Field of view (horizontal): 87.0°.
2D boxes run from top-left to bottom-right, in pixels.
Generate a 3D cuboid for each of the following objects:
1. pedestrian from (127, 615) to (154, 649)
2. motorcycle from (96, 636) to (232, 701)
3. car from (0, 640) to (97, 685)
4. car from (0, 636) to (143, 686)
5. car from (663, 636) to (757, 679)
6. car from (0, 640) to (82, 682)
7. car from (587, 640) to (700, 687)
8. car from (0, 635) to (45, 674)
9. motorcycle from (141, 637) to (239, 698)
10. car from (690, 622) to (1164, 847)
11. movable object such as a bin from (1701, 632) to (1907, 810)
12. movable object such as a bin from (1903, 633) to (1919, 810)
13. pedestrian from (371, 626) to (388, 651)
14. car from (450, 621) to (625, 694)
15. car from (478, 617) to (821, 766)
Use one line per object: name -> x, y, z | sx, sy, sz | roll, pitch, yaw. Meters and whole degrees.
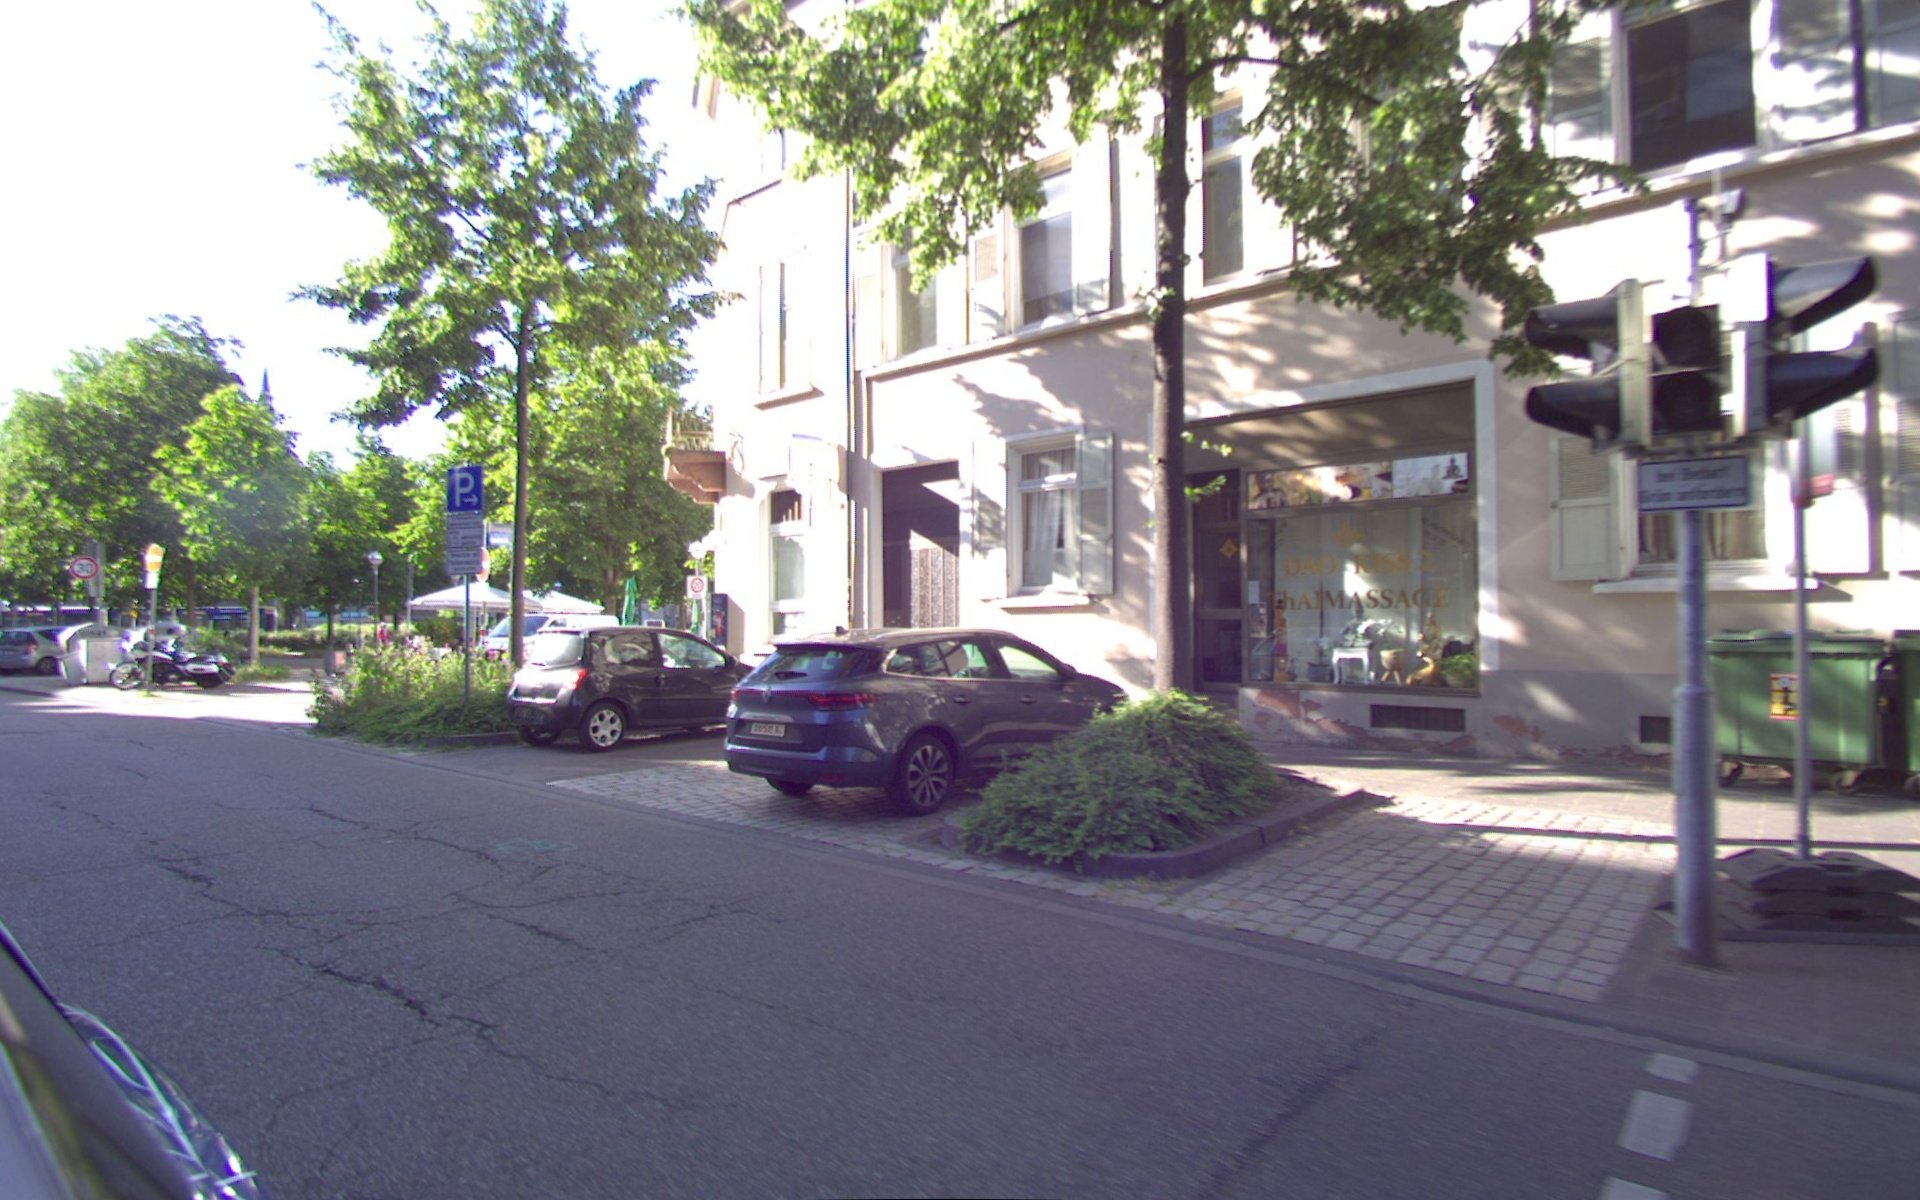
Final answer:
pedestrian -> -30.722, 1.216, 37.951 | 0.520, 1.267, 0.519 | 0, -3, 7
motorcycle -> -18.529, 1.566, 23.628 | 2.281, 1.434, 1.004 | 0, -2, -23
car -> -32.379, 2.122, 34.657 | 1.977, 1.453, 3.989 | -1, -2, 9
car -> -30.121, 1.994, 33.915 | 1.977, 1.574, 3.989 | -1, -2, 9
car -> -9.823, 2.293, 40.131 | 1.910, 1.625, 4.131 | -1, -4, 14
car -> -34.752, 2.192, 36.721 | 1.981, 1.485, 3.982 | -1, -2, 14
car -> -10.969, 2.205, 35.398 | 1.910, 1.528, 4.131 | -1, -4, 14
car -> -43.273, 2.398, 44.545 | 1.986, 1.706, 3.972 | -1, -2, 21
motorcycle -> -18.727, 1.627, 24.657 | 1.724, 1.434, 0.832 | 1, -2, -23
car -> -0.089, 1.009, 9.313 | 1.944, 1.556, 4.293 | -2, -3, 42
movable object such as a bin -> 7.180, 0.965, 8.625 | 1.261, 1.378, 0.899 | -2, -3, 43
movable object such as a bin -> 8.137, 0.937, 7.791 | 1.248, 1.366, 0.820 | -2, -3, 44
pedestrian -> -29.240, 1.950, 50.952 | 0.516, 1.267, 0.523 | -1, -3, 22
car -> -12.419, 1.718, 30.234 | 2.054, 1.959, 5.303 | -1, -4, 14
car -> -3.950, 1.084, 13.402 | 1.942, 1.652, 3.947 | -2, -3, 39
